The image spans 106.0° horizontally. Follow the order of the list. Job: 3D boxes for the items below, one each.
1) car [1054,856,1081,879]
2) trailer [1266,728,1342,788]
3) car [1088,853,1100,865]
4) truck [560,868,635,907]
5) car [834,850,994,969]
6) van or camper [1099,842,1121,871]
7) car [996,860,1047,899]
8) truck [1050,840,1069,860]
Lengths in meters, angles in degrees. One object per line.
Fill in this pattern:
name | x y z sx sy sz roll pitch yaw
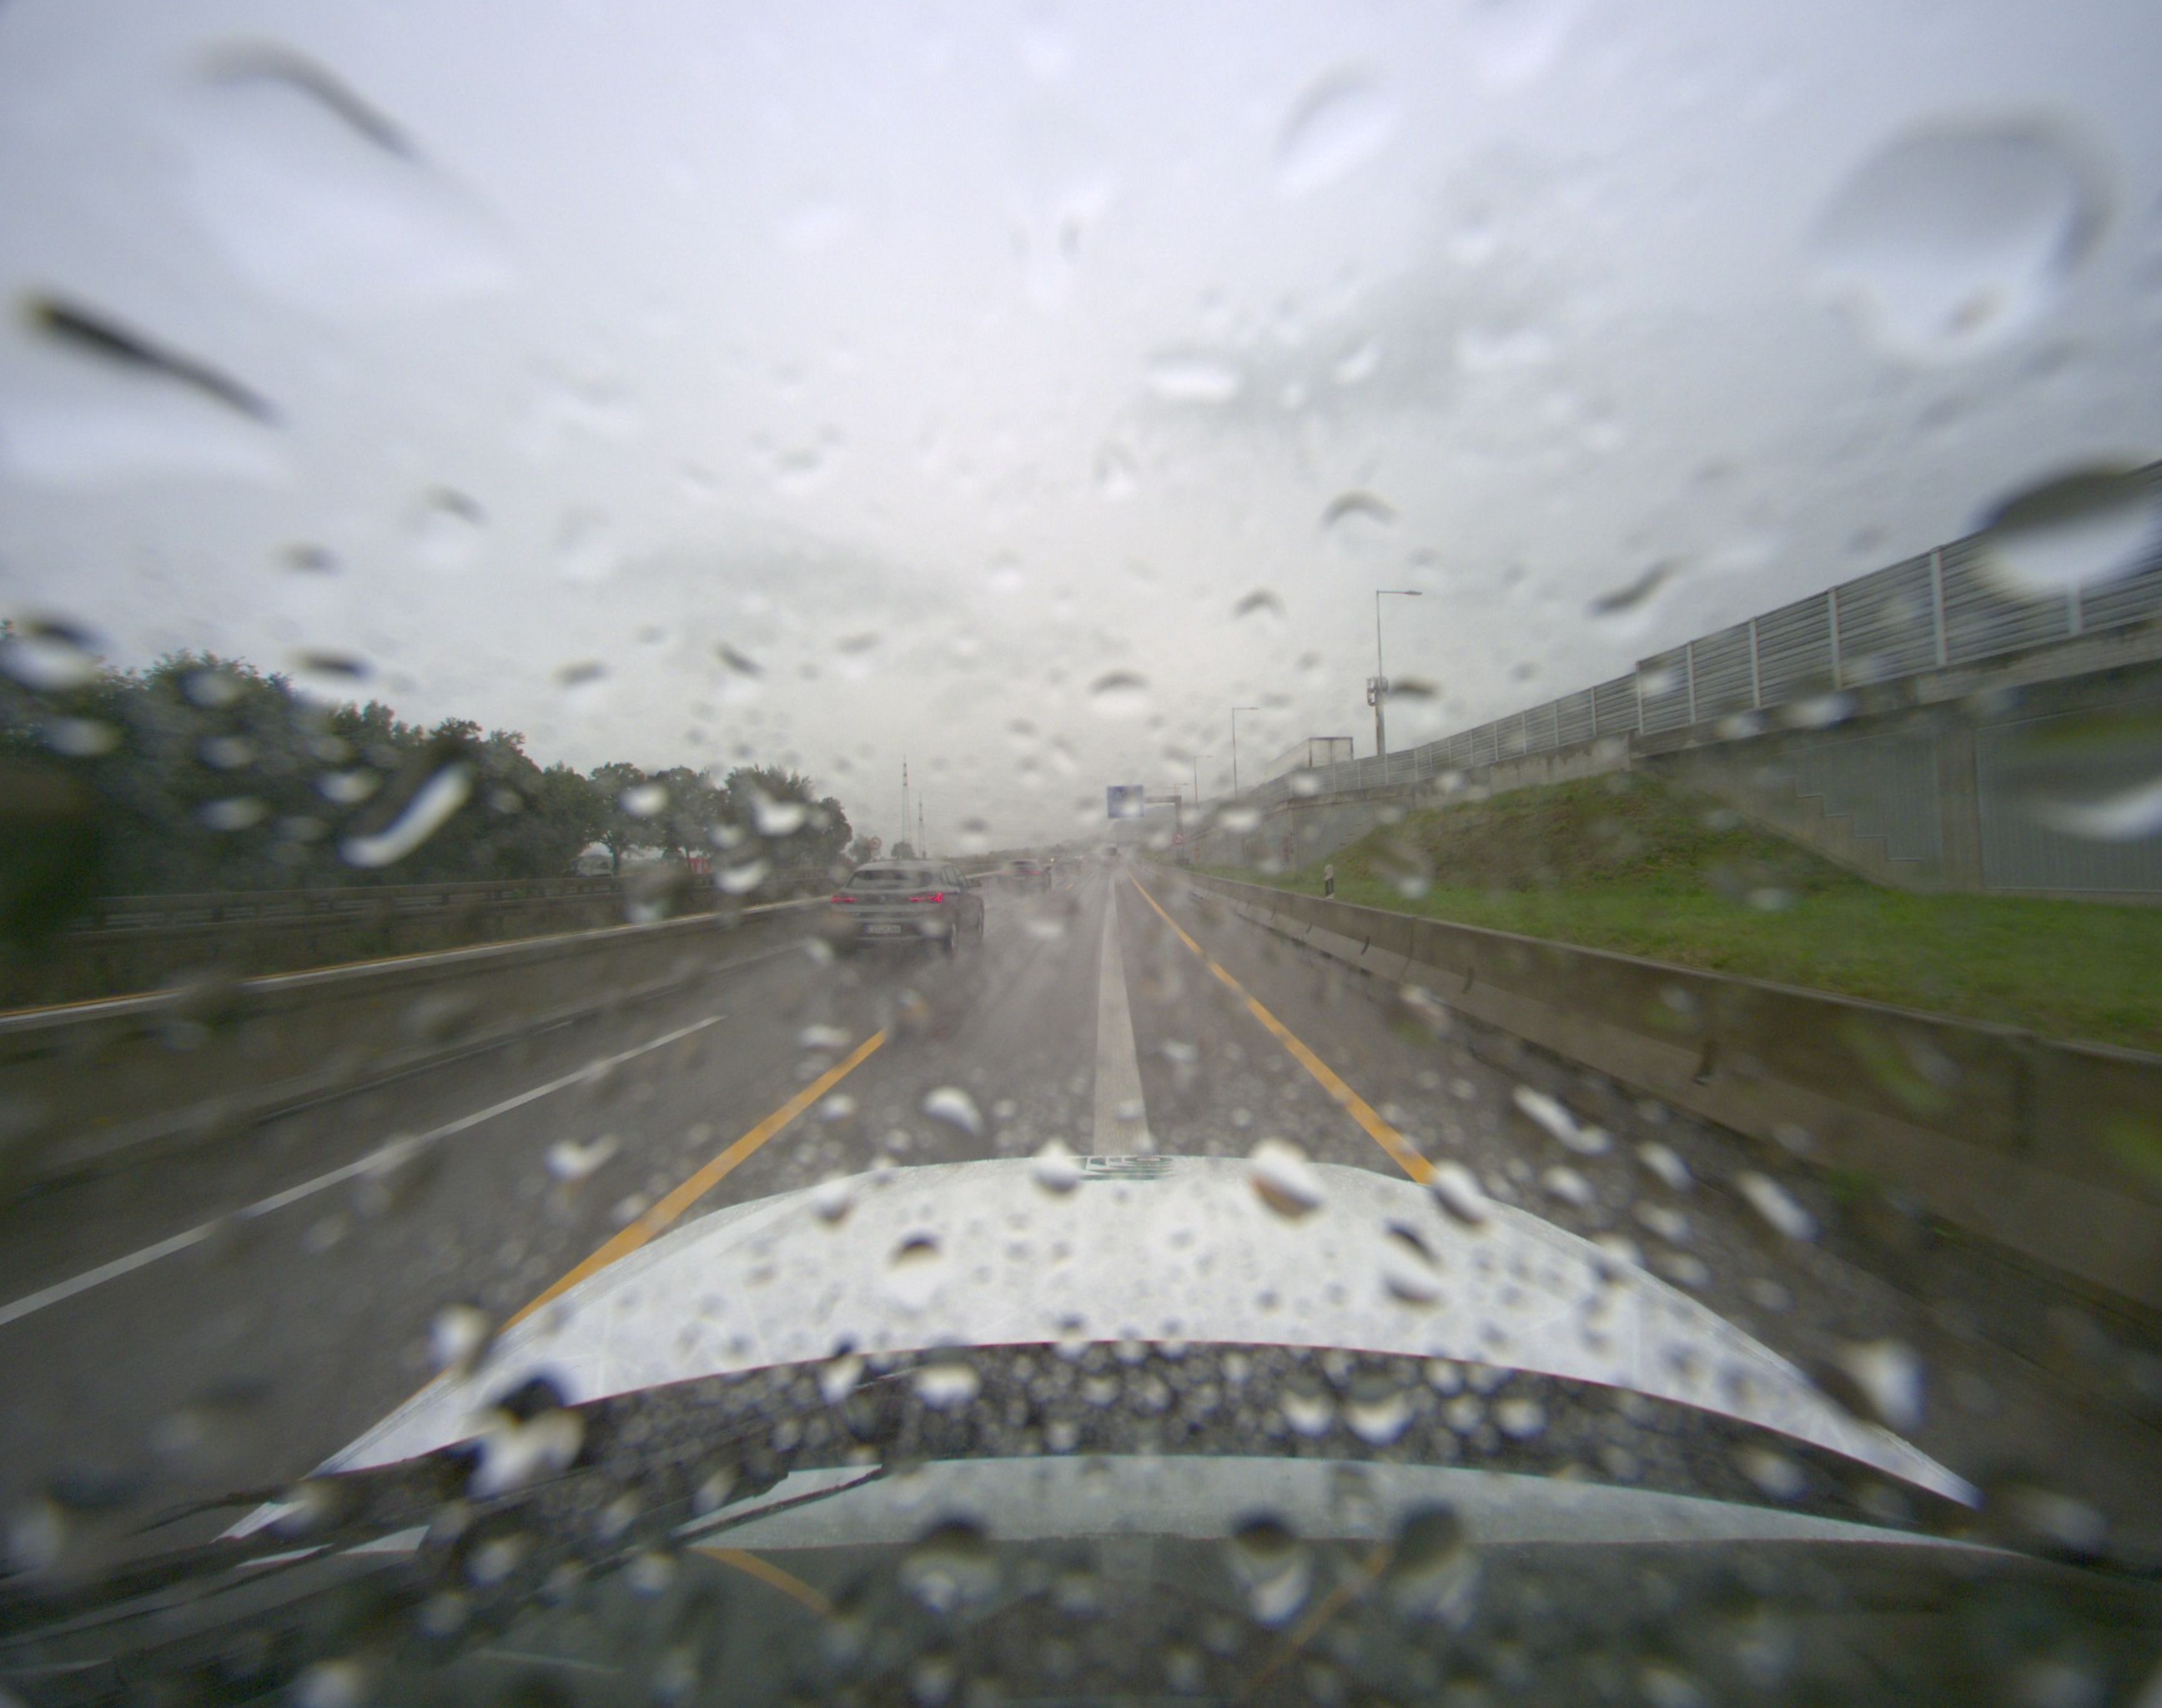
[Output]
car | -0.956 0.977 59.288 1.839 1.491 4.260 -4 0 -1
trailer | 14.616 -6.153 54.501 1.985 2.106 13.777 -1 -1 3
car | 1.891 0.734 117.126 1.563 1.480 2.819 -4 -2 -2
truck | -41.761 2.839 70.506 2.600 3.213 5.876 -1 -1 5
car | -2.556 0.815 13.634 1.696 1.598 4.843 -1 -1 -1
van or camper | 2.894 0.288 82.477 1.990 2.777 4.048 -1 -1 -1
car | -2.410 1.054 34.035 1.839 1.491 4.259 -1 -1 -1
truck | -3.725 -0.678 143.026 2.628 3.347 9.560 -1 0 3
